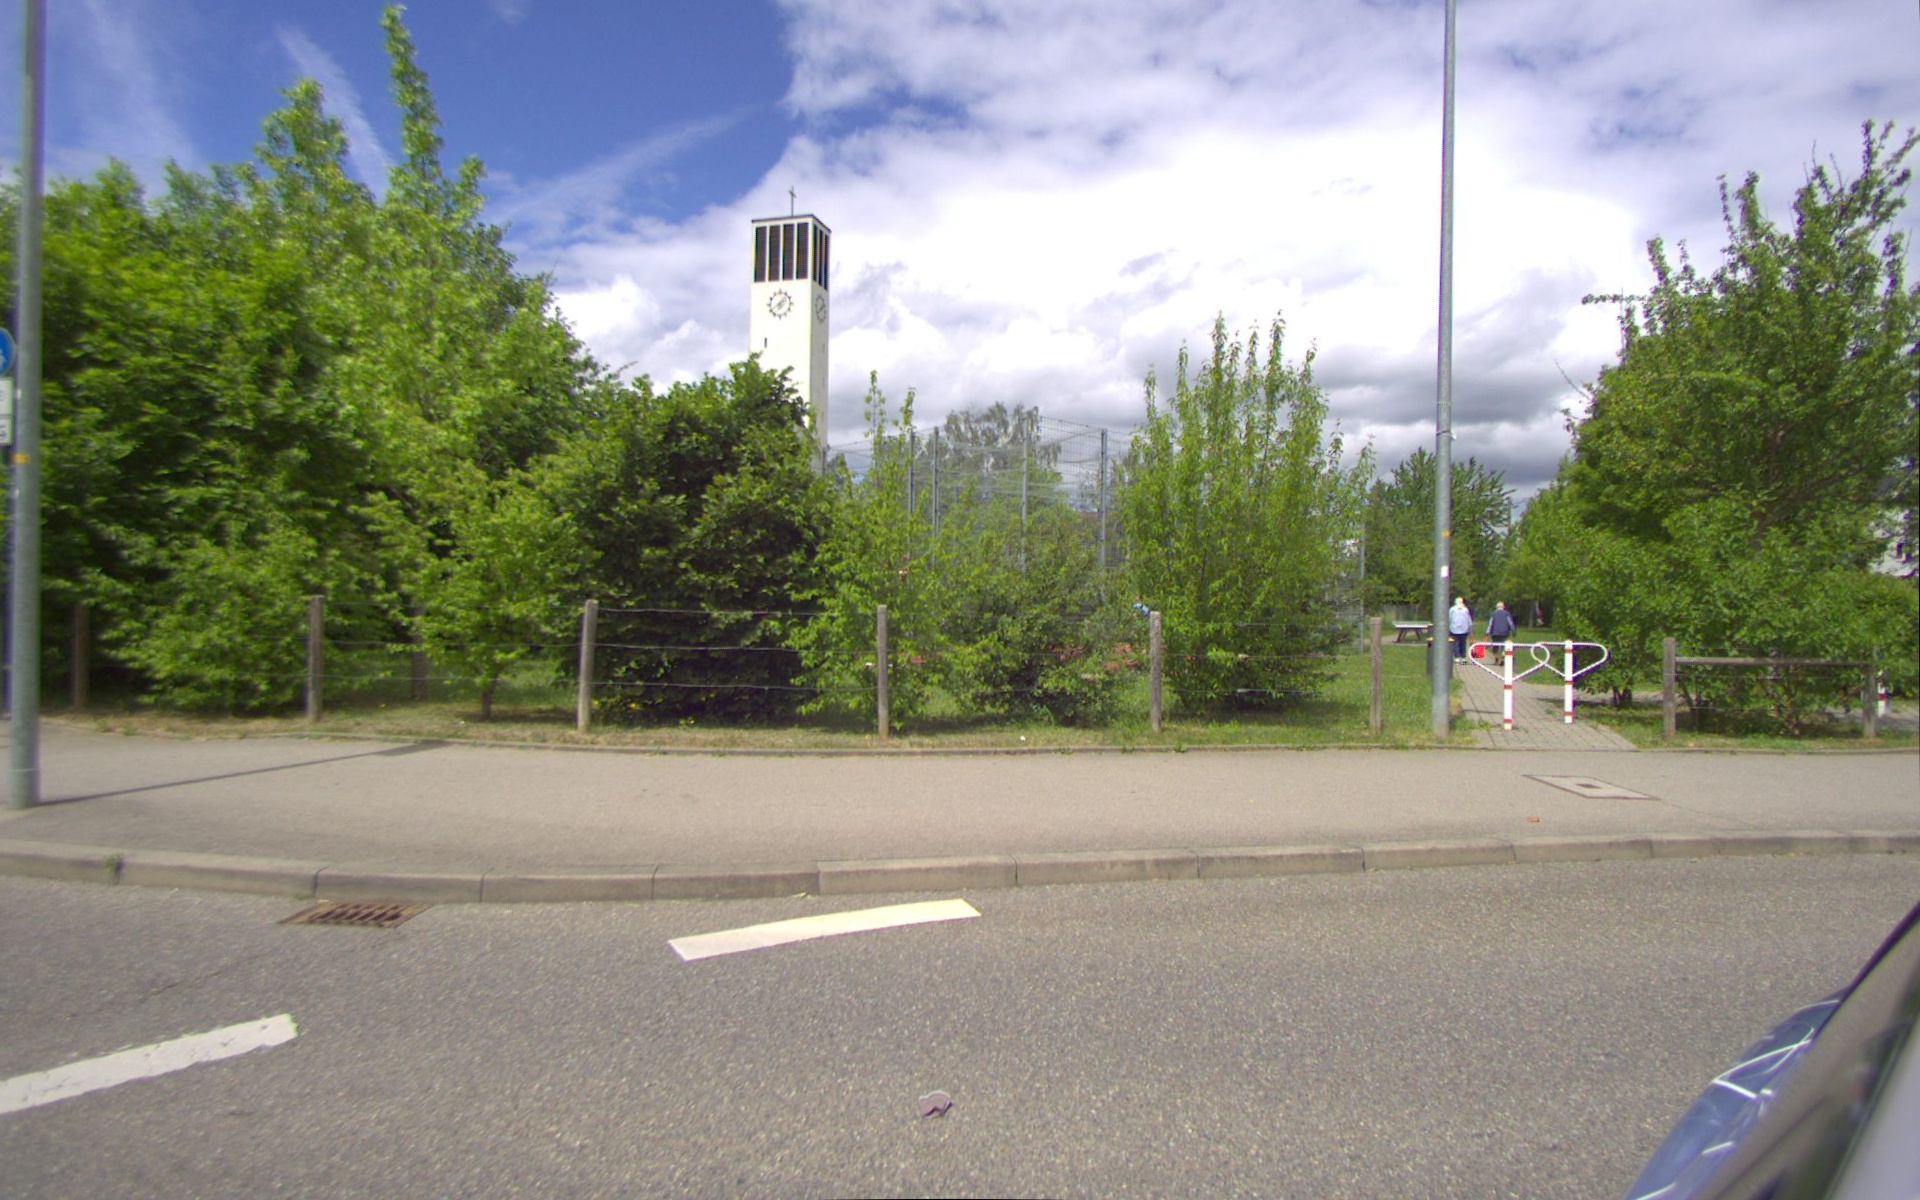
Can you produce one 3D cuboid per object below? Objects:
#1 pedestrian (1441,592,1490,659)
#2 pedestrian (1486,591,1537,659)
[{"bbox_3d":[13.145,0.653,26.356,0.881,1.715,0.928,-1,-1,10],"label":"pedestrian"},{"bbox_3d":[14.290,0.638,26.264,0.881,1.715,0.928,-1,-1,10],"label":"pedestrian"}]
